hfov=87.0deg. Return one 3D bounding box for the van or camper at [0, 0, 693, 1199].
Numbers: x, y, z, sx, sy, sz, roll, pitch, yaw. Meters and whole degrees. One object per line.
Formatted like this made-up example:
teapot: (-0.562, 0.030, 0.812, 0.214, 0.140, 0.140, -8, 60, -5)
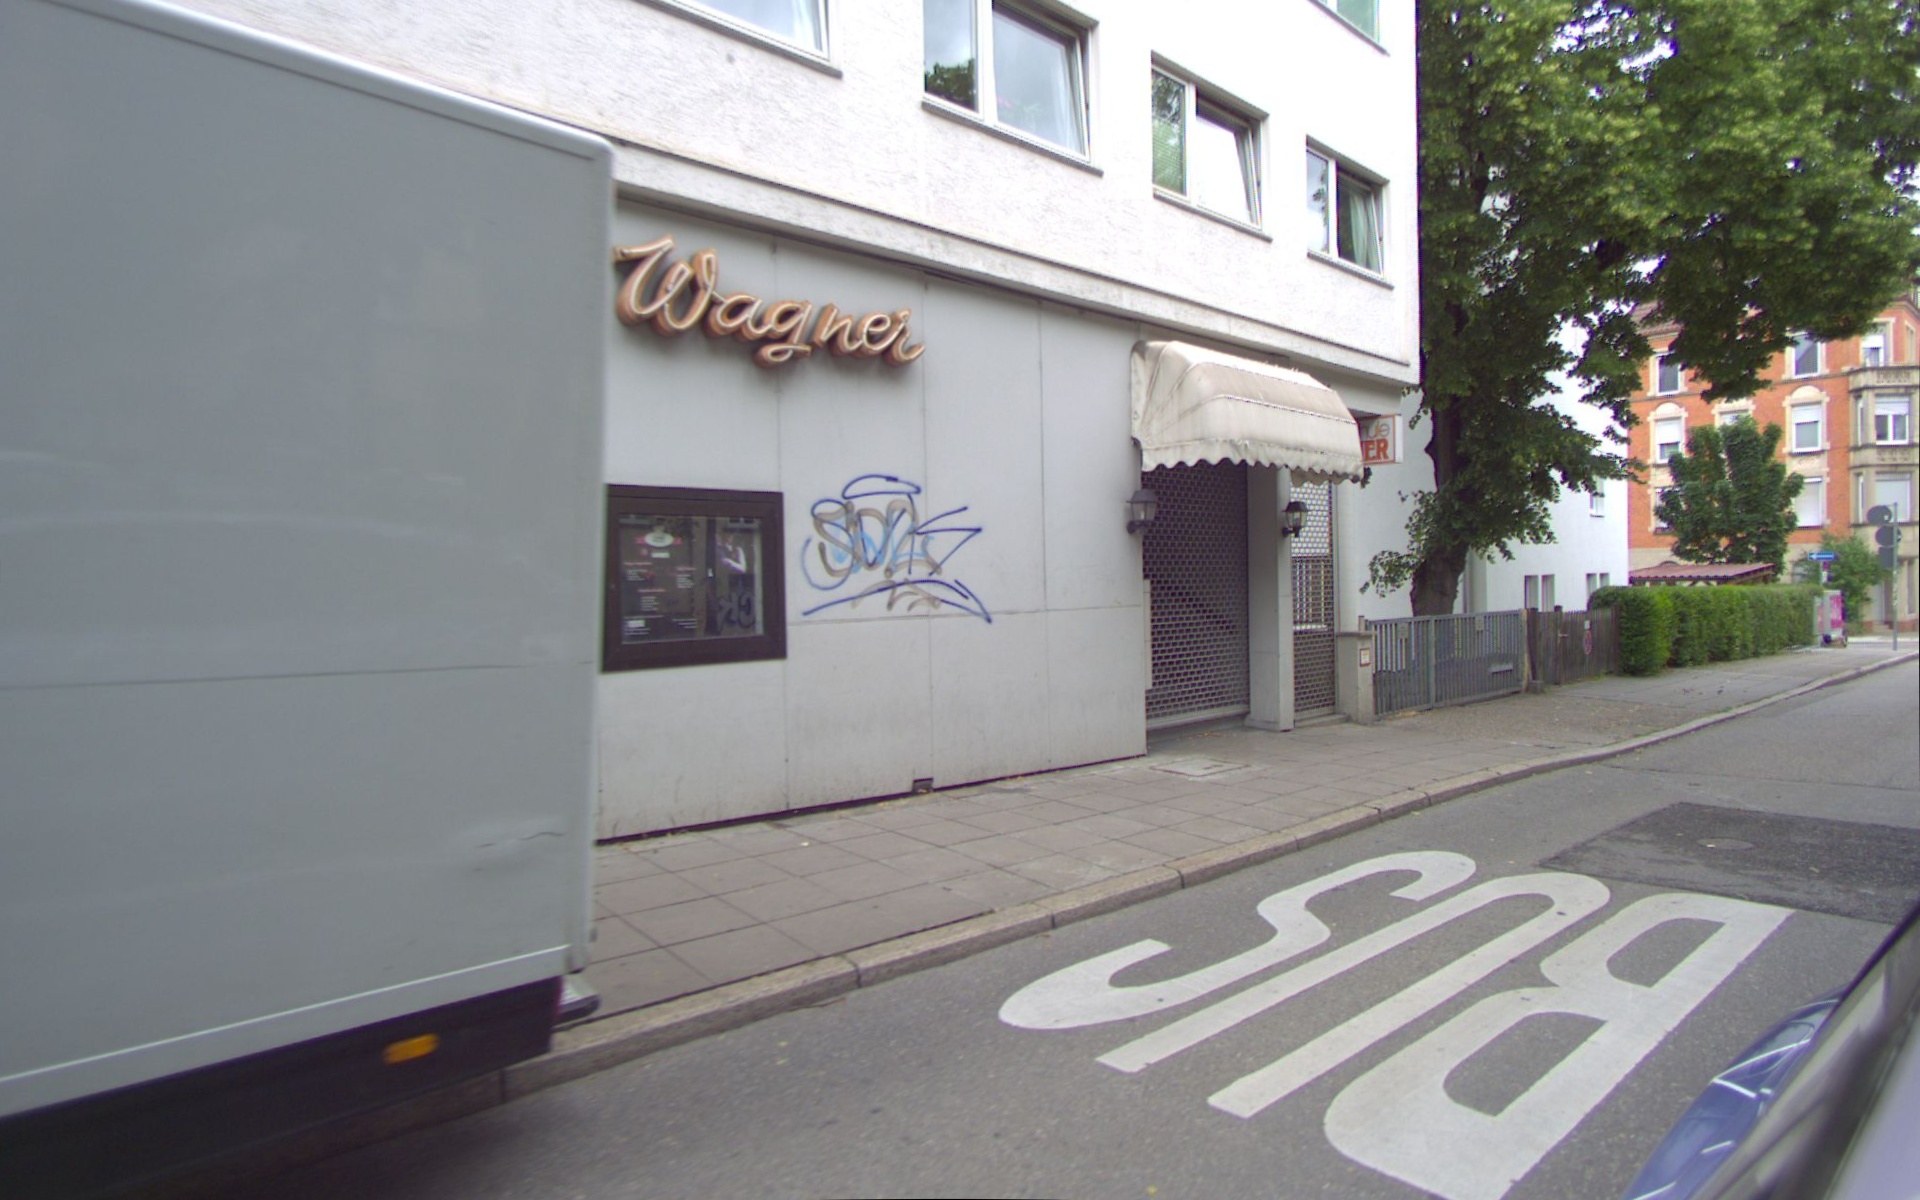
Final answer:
van or camper: (-4.163, 0.014, 1.181, 7.116, 2.838, 2.483, -1, 1, -43)
